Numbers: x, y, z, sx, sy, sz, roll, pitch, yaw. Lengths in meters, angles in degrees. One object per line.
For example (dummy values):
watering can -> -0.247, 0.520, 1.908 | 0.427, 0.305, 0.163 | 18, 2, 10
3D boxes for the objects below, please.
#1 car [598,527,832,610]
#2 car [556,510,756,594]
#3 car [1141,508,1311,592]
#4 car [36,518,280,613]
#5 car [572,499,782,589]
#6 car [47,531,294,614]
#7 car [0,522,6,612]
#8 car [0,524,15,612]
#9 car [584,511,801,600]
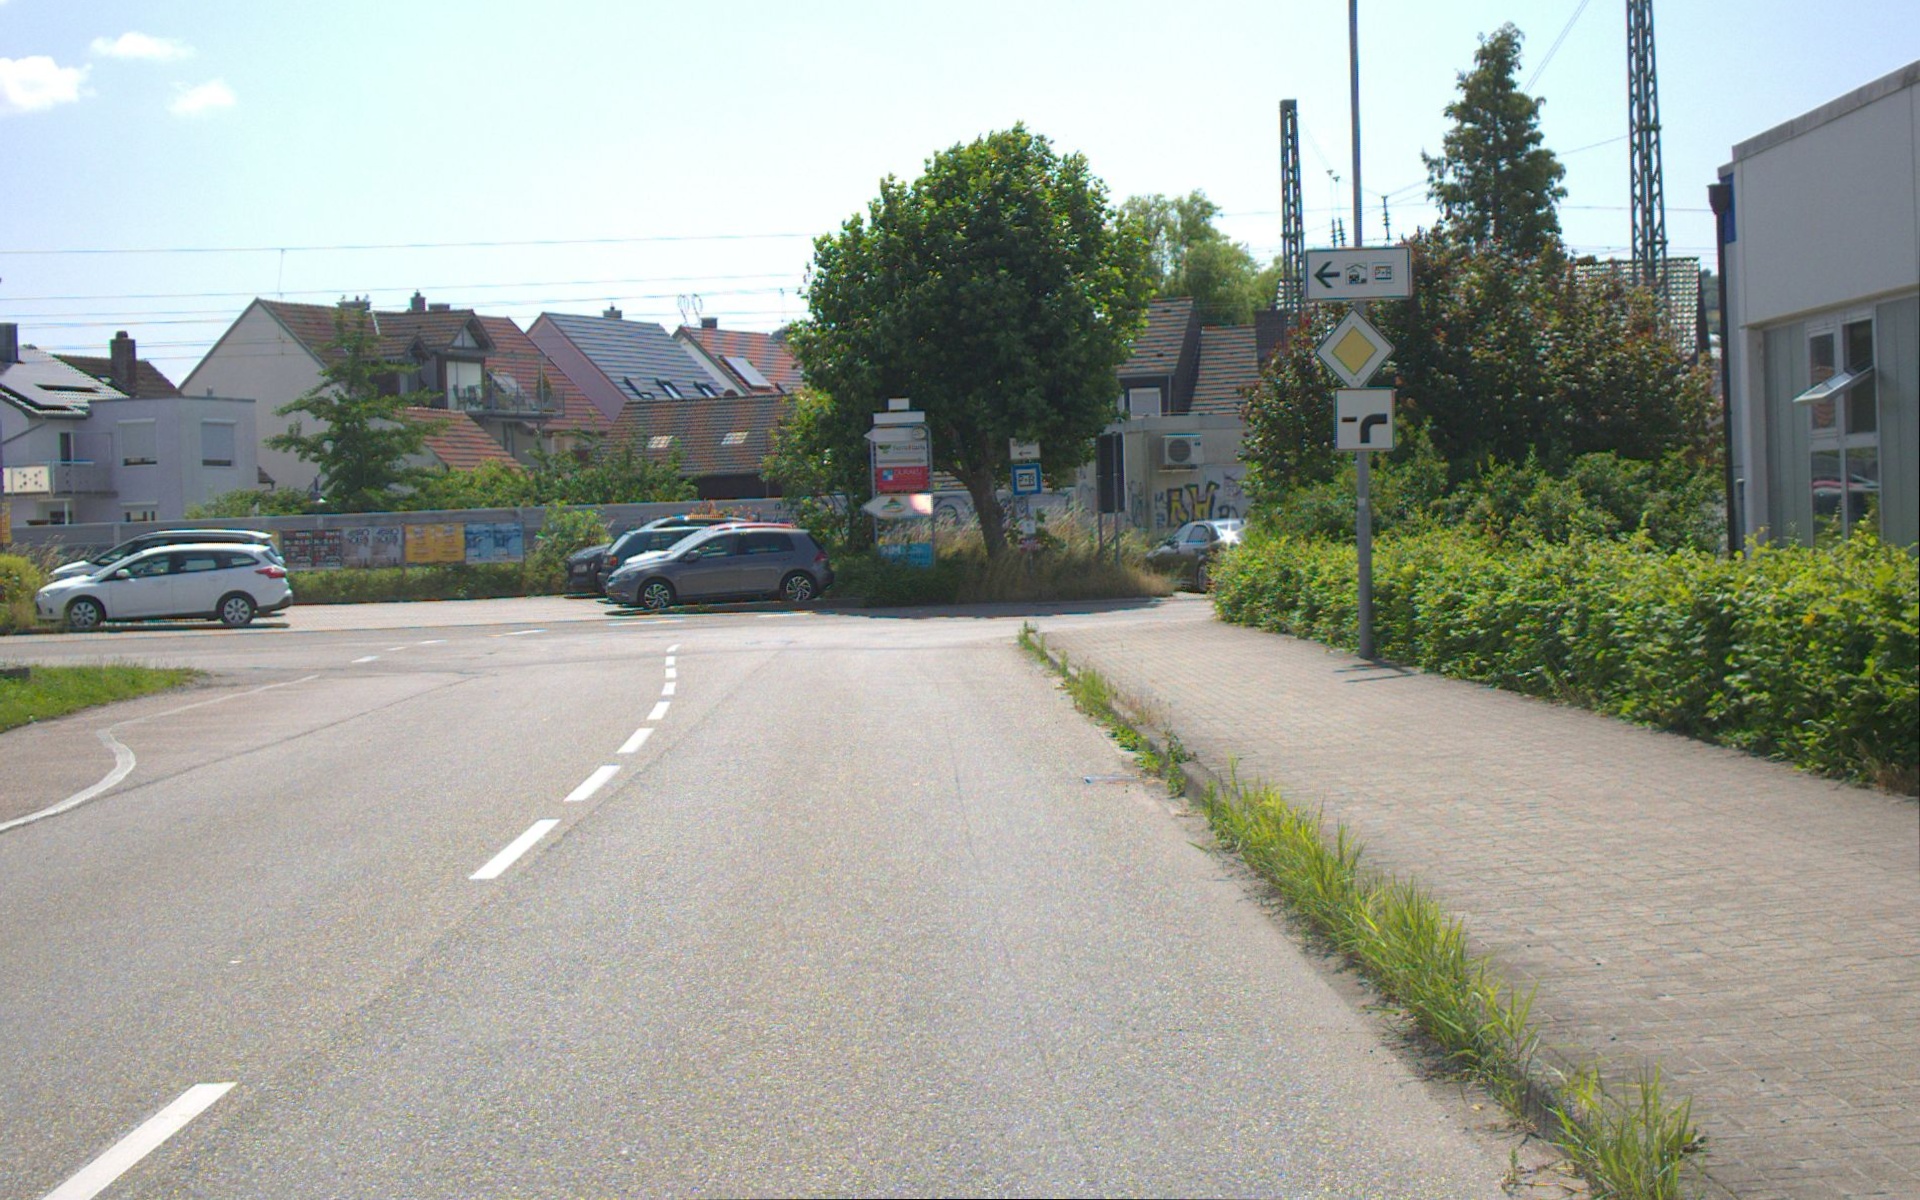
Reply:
car -> -4.593, -0.591, 64.169 | 4.186, 1.458, 1.665 | -1, 1, -10
car -> -6.337, -0.992, 71.547 | 3.986, 1.724, 1.771 | 0, 1, -10
car -> 5.185, -1.005, 67.572 | 1.751, 1.381, 4.002 | -1, 5, -21
car -> -15.494, -0.685, 66.589 | 4.451, 1.684, 2.001 | -1, 3, -10
car -> -5.711, -1.139, 69.208 | 3.986, 1.651, 2.001 | -2, 1, -11
car -> -14.242, -0.492, 62.073 | 4.281, 1.472, 1.828 | 0, 1, -13
car -> -19.834, -0.489, 63.380 | 4.159, 1.633, 1.956 | -4, 2, -18
car -> -18.957, -0.522, 61.153 | 3.999, 1.556, 1.823 | -2, 1, -19
car -> -5.204, -0.873, 66.737 | 3.986, 1.581, 1.780 | -2, 1, -10
